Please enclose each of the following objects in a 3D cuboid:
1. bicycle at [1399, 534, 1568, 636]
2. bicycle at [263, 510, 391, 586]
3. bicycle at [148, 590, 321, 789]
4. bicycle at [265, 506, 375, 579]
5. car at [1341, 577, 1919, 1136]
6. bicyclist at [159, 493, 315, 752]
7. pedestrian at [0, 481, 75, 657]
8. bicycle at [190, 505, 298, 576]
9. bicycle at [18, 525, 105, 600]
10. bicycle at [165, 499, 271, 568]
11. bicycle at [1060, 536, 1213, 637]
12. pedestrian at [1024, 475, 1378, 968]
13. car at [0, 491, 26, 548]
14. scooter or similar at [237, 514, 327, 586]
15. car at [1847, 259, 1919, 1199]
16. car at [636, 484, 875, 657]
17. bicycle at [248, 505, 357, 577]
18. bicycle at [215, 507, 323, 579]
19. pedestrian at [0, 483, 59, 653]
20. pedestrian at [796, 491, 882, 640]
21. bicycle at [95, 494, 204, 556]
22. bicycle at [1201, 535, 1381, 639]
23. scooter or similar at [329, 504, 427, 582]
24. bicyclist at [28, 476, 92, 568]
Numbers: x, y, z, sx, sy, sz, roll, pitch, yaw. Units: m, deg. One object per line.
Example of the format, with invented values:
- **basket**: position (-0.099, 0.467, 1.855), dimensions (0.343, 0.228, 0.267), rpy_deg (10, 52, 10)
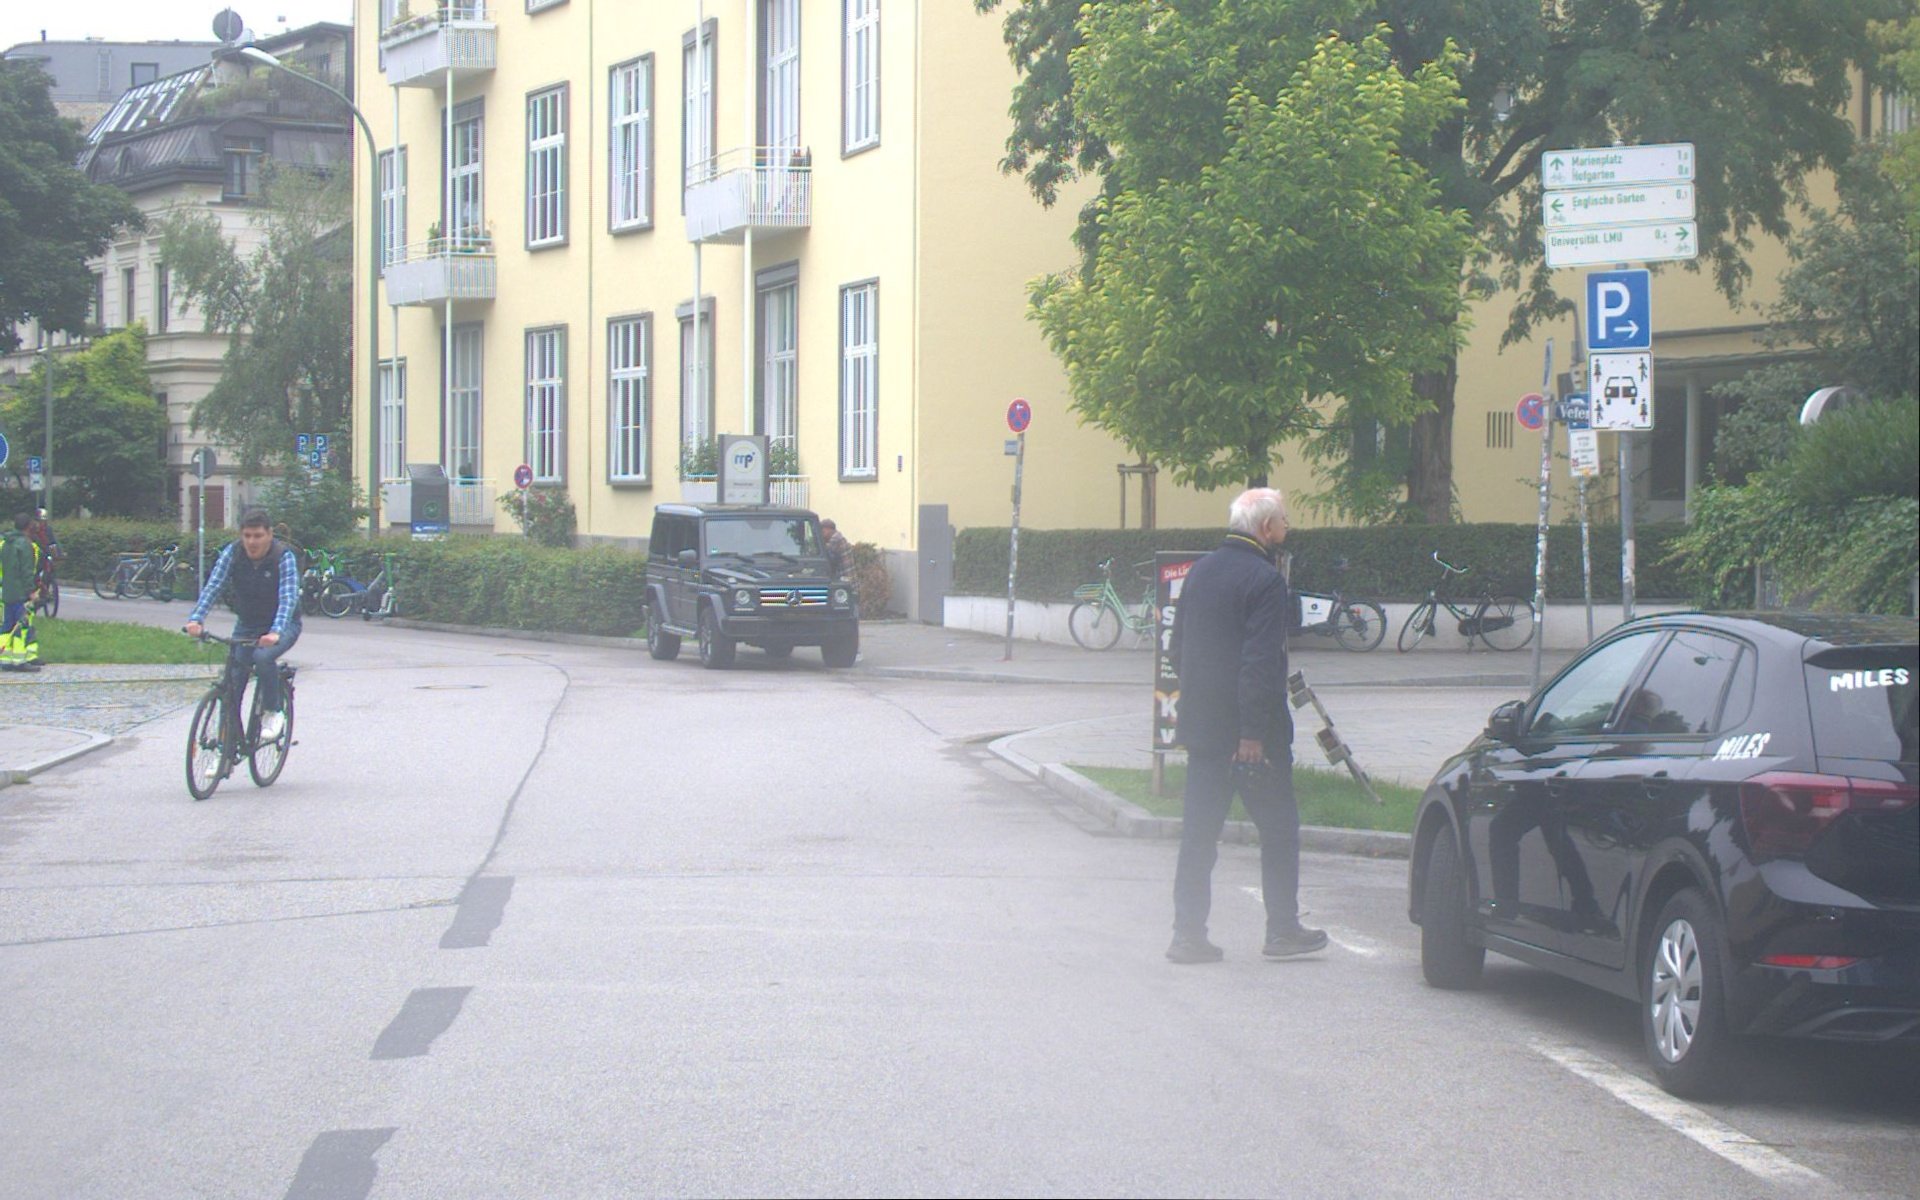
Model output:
- **bicycle**: position (6.309, -0.186, 41.500), dimensions (1.922, 1.197, 0.595), rpy_deg (1, 2, -1)
- **bicycle**: position (-11.108, -0.922, 60.403), dimensions (2.150, 1.301, 0.734), rpy_deg (-1, 2, -42)
- **bicycle**: position (-4.571, 0.540, 21.776), dimensions (0.670, 1.154, 2.004), rpy_deg (1, 1, 0)
- **bicycle**: position (-11.612, -1.059, 62.477), dimensions (0.733, 1.301, 2.152), rpy_deg (1, 2, 30)
- **car**: position (2.693, 0.729, 11.552), dimensions (1.676, 1.384, 4.307), rpy_deg (4, 1, -8)
- **bicyclist**: position (-4.573, 0.129, 21.803), dimensions (0.863, 1.602, 0.947), rpy_deg (1, 1, -6)
- **pedestrian**: position (-10.817, -0.366, 39.748), dimensions (0.931, 2.006, 0.957), rpy_deg (0, 2, -1)
- **bicycle**: position (-13.491, -1.127, 64.839), dimensions (0.733, 1.301, 2.152), rpy_deg (1, 2, 30)
- **bicycle**: position (-15.077, -0.634, 57.625), dimensions (0.743, 1.210, 2.144), rpy_deg (-2, 2, -33)
- **bicycle**: position (-14.348, -1.301, 66.520), dimensions (0.733, 1.301, 2.152), rpy_deg (1, 2, 30)
- **bicycle**: position (2.199, -0.184, 43.014), dimensions (1.926, 1.197, 0.594), rpy_deg (2, 3, 41)
- **pedestrian**: position (0.920, 0.426, 13.160), dimensions (0.954, 1.794, 0.935), rpy_deg (-1, 2, -42)
- **car**: position (-24.633, -2.003, 85.041), dimensions (1.993, 1.367, 4.000), rpy_deg (-1, 2, -30)
- **scooter or similar**: position (-12.544, -0.935, 63.650), dimensions (0.733, 1.301, 1.728), rpy_deg (1, 2, 27)
- **car**: position (3.267, 0.411, 5.332), dimensions (2.079, 2.226, 5.245), rpy_deg (4, 0, -2)
- **car**: position (-2.587, -0.412, 42.399), dimensions (1.762, 1.868, 4.381), rpy_deg (4, 1, -18)
- **bicycle**: position (-12.094, -1.100, 63.296), dimensions (0.733, 1.301, 2.152), rpy_deg (1, 2, 30)
- **bicycle**: position (-12.890, -1.073, 64.191), dimensions (0.733, 1.301, 2.152), rpy_deg (1, 2, 30)
- **pedestrian**: position (-11.370, -0.396, 41.144), dimensions (0.931, 2.006, 0.957), rpy_deg (0, 2, -1)
- **pedestrian**: position (-1.505, -0.433, 42.529), dimensions (0.874, 1.817, 0.799), rpy_deg (0, 2, -17)
- **bicycle**: position (-17.021, -1.574, 72.216), dimensions (2.148, 1.301, 0.735), rpy_deg (0, 2, -22)
- **bicycle**: position (4.012, -0.165, 41.693), dimensions (2.069, 1.197, 0.595), rpy_deg (1, 2, 18)
- **scooter or similar**: position (-10.075, -1.000, 59.567), dimensions (0.733, 1.301, 2.154), rpy_deg (1, 2, 19)
- **bicyclist**: position (-15.082, -1.311, 57.614), dimensions (0.743, 1.515, 0.945), rpy_deg (-2, 2, -33)
